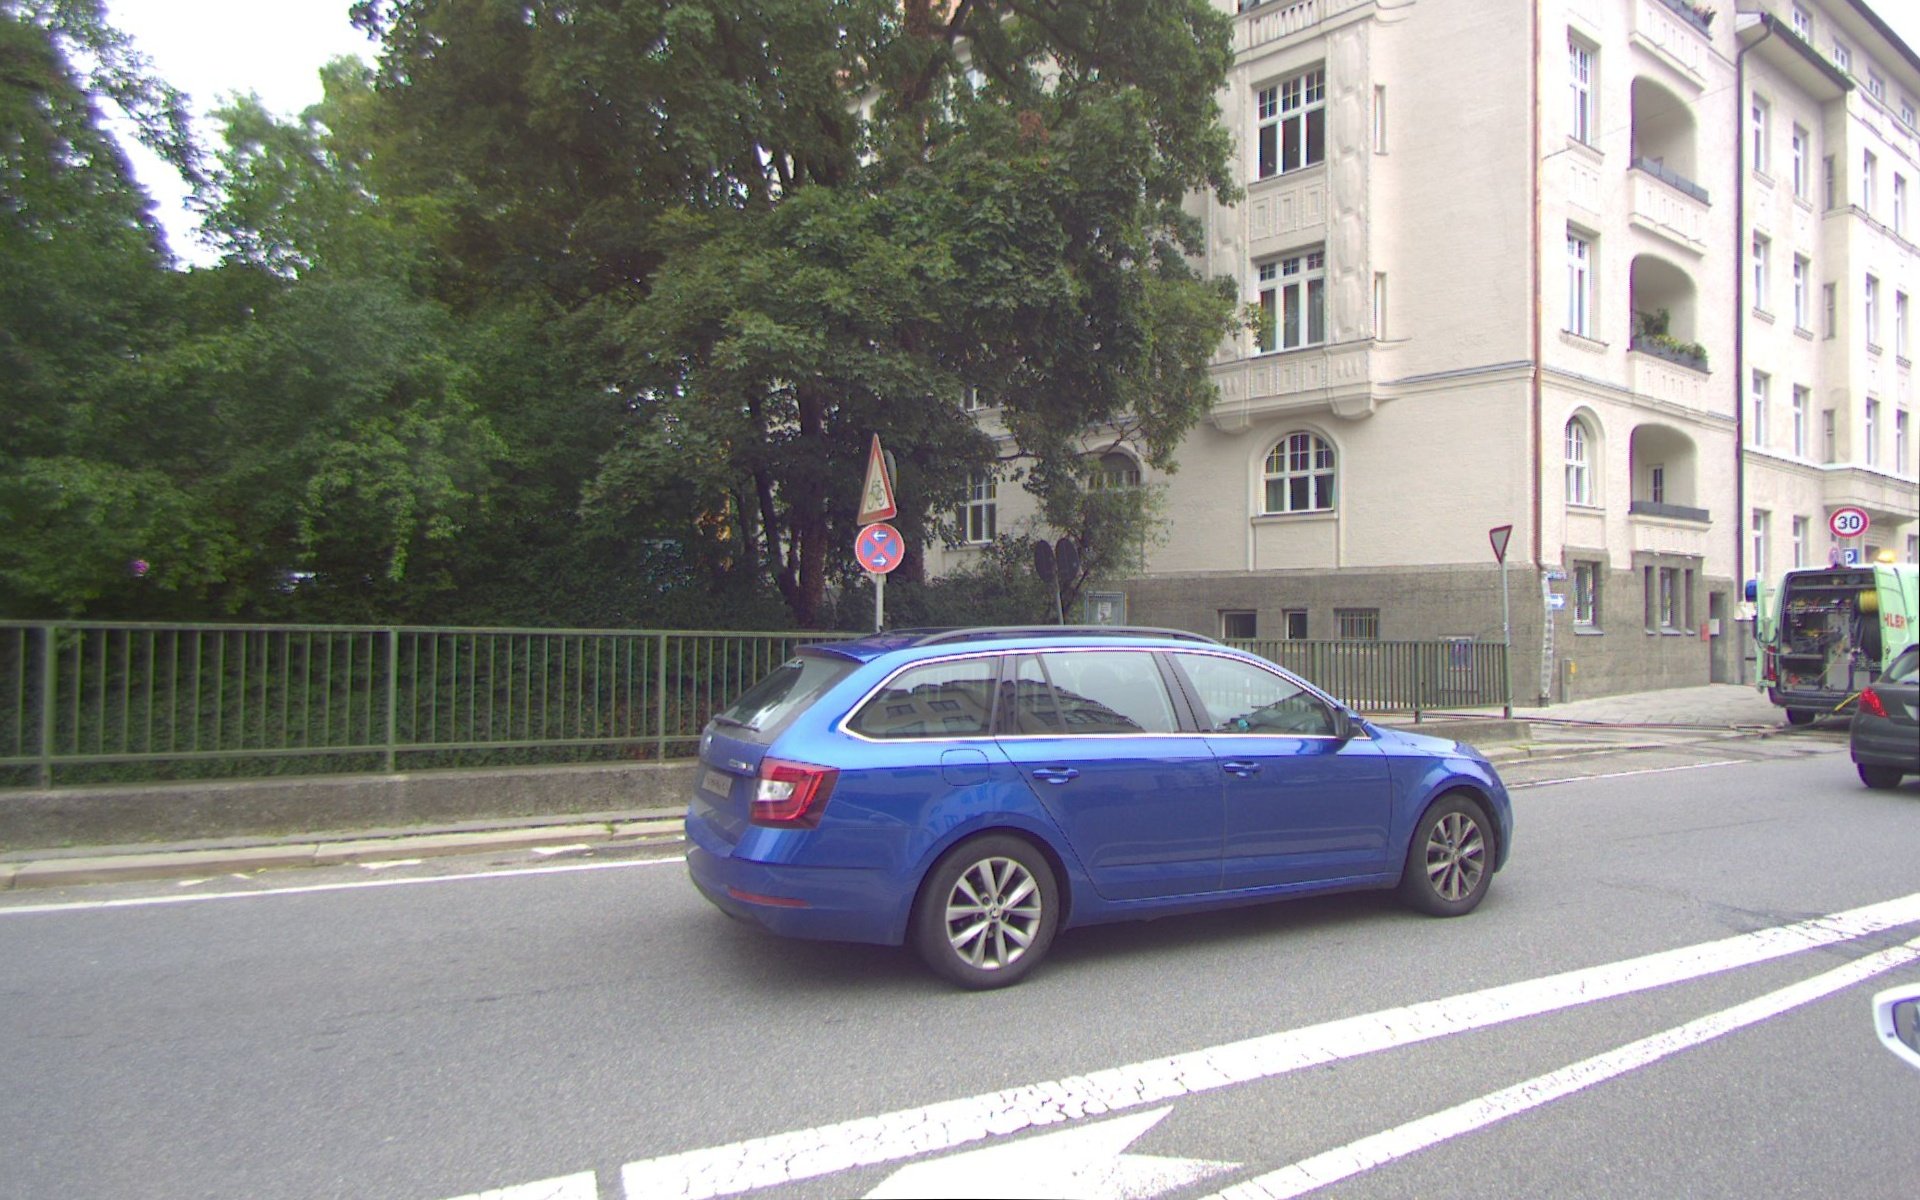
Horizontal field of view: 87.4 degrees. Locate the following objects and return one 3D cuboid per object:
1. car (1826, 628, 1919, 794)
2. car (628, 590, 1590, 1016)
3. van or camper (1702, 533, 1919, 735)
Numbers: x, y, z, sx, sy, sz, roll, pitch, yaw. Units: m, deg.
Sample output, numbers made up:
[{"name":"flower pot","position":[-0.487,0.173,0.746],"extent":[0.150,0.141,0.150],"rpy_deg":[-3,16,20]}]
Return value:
[{"name":"car","position":[10.410,1.016,9.661],"extent":[4.021,1.480,1.753],"rpy_deg":[1,-2,-27]},{"name":"car","position":[0.758,0.760,5.285],"extent":[4.665,1.473,1.984],"rpy_deg":[1,-2,-22]},{"name":"van or camper","position":[15.438,0.506,17.004],"extent":[6.117,2.878,2.586],"rpy_deg":[0,-1,-32]}]
